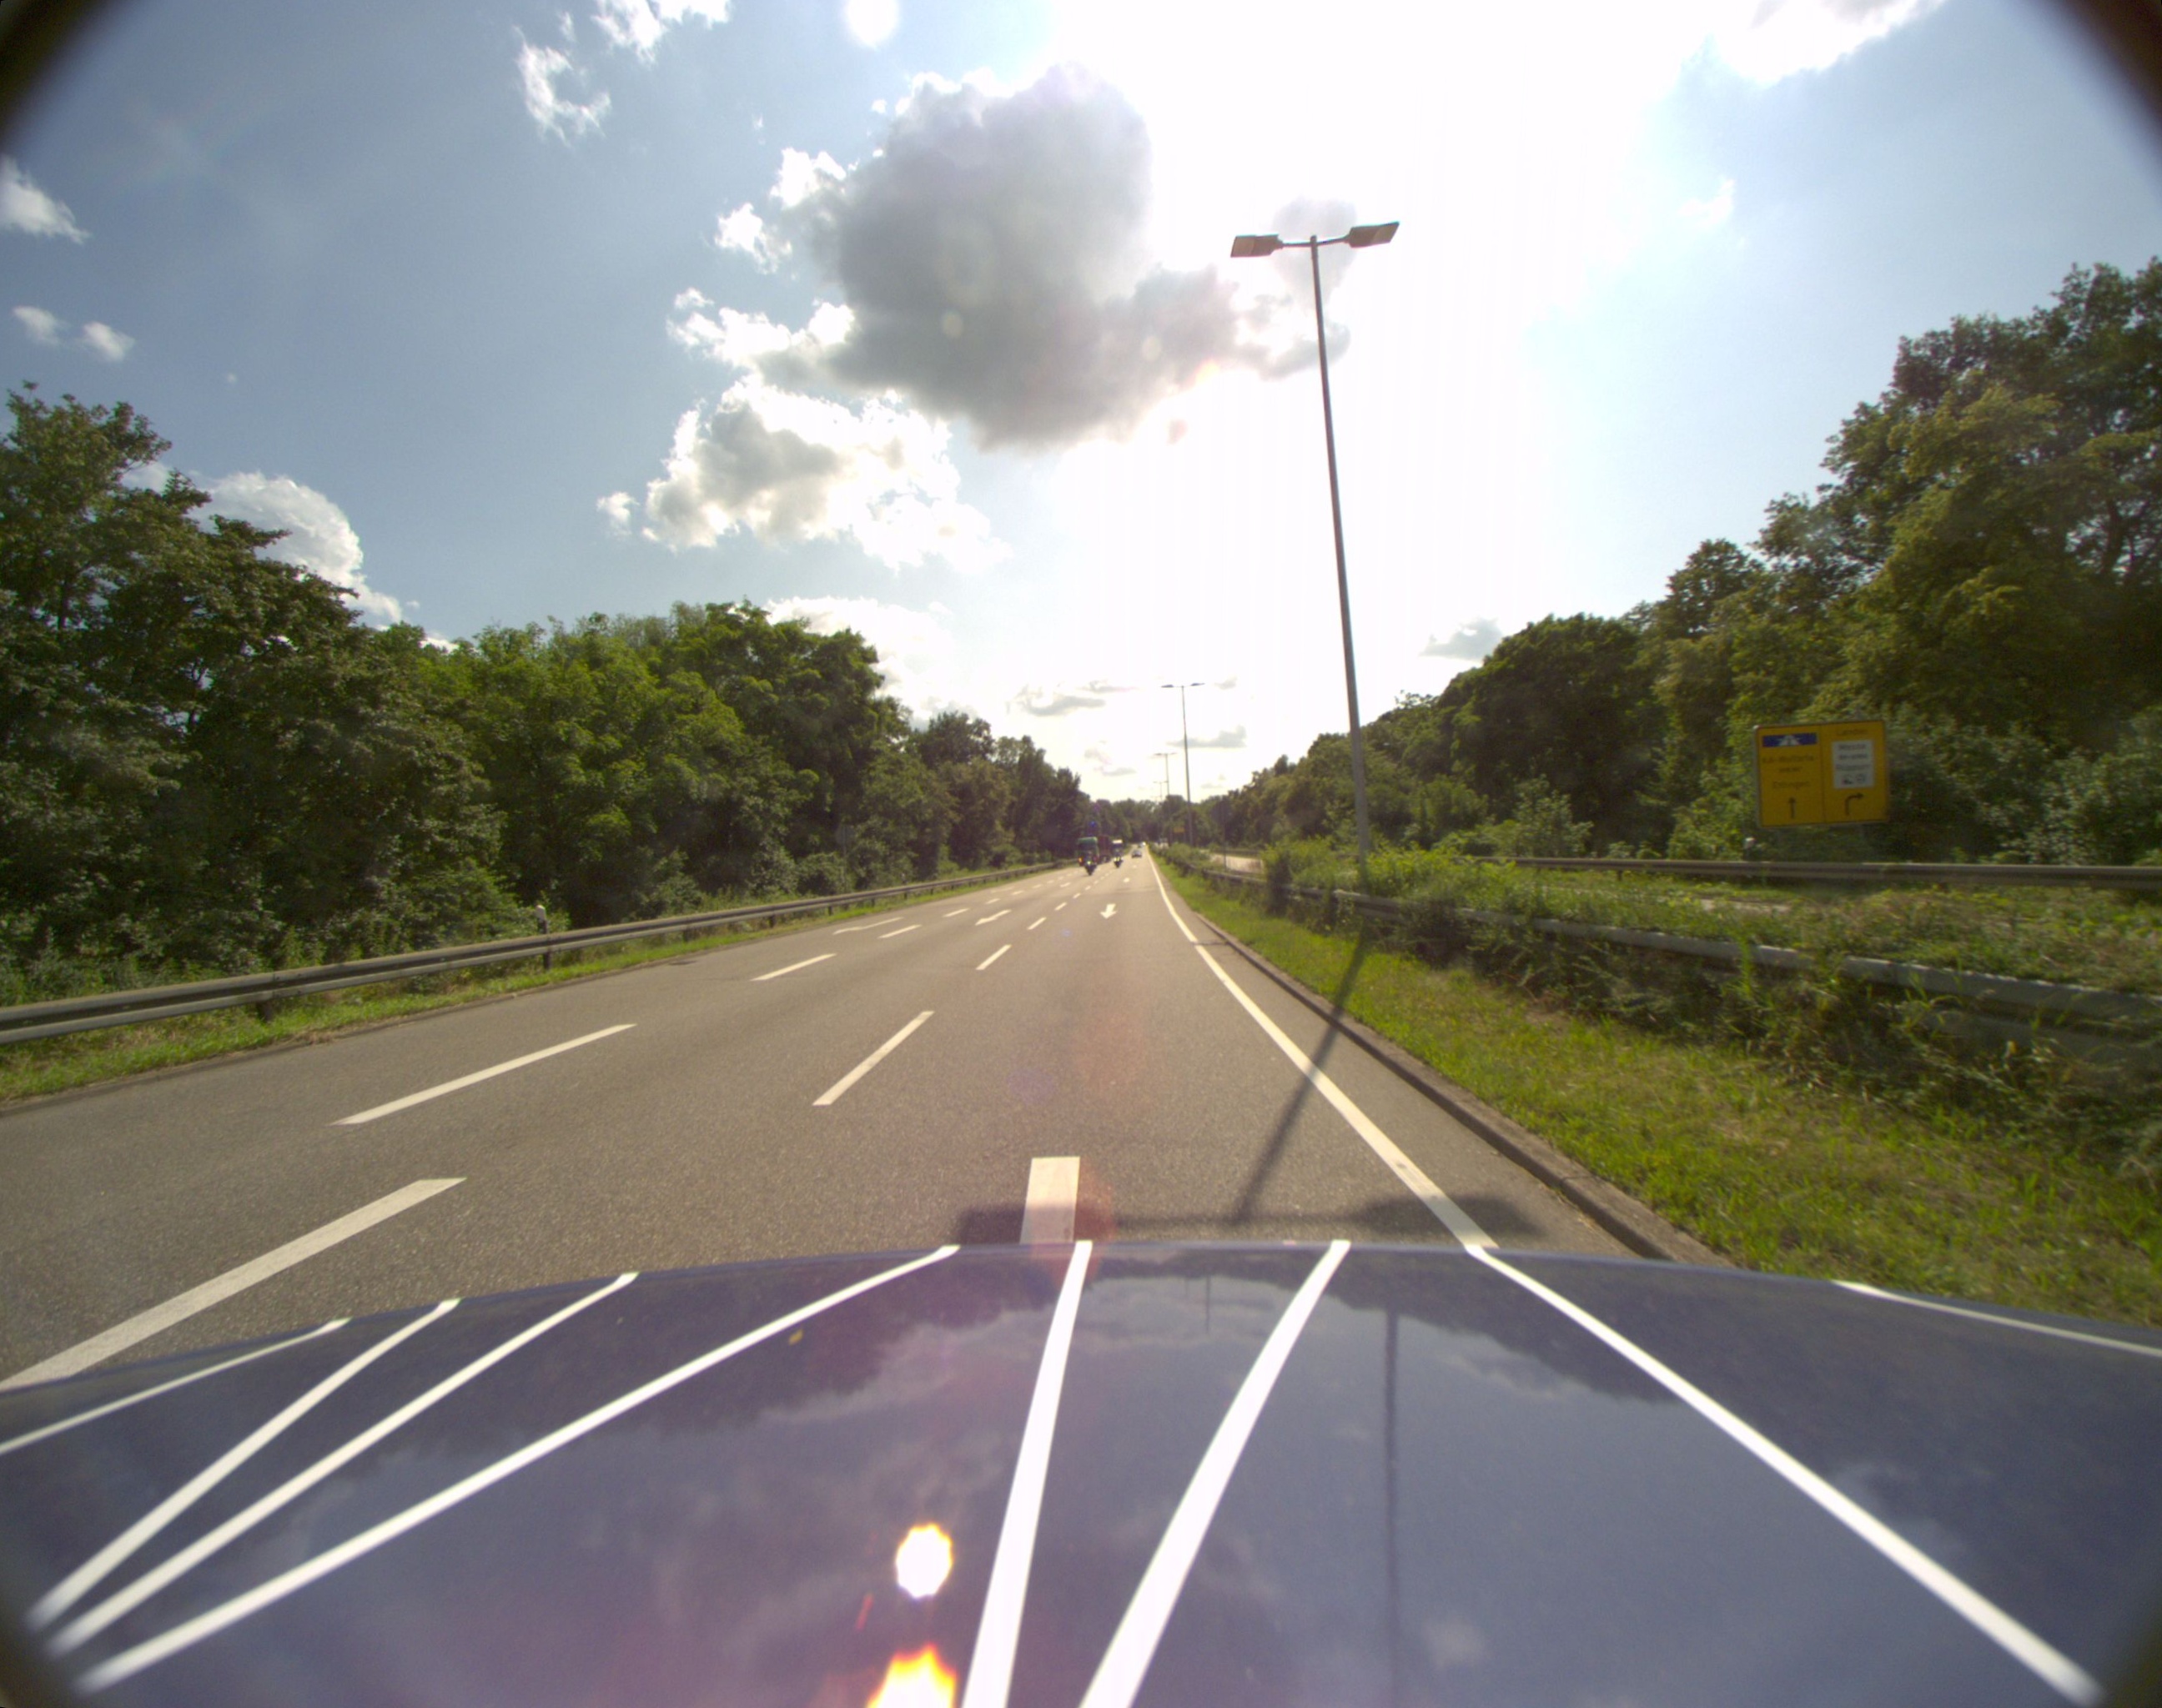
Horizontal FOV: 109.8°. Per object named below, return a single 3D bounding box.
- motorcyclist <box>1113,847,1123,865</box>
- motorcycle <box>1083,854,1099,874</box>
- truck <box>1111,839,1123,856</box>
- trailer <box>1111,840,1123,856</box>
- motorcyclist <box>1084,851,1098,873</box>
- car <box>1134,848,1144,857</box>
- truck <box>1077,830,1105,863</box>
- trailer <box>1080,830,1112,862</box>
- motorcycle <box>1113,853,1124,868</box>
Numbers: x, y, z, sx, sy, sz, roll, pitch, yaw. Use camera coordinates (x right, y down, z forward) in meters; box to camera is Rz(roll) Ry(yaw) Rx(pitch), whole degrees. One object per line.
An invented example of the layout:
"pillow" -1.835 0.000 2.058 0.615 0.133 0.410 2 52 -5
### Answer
"motorcyclist" 3.576 0.216 72.756 0.867 1.690 0.895 -3 0 4
"motorcycle" 0.744 0.708 55.125 0.939 1.375 2.371 -3 0 4
"truck" 8.977 -1.534 190.236 2.691 3.948 7.384 -4 0 2
"trailer" 9.242 -1.473 197.068 2.695 3.948 12.393 -4 0 2
"motorcyclist" 0.732 0.567 55.075 0.939 1.581 1.083 -3 0 3
"car" 10.334 -0.324 135.204 1.735 1.468 4.048 -3 0 6
"truck" 1.341 -0.955 96.296 2.590 3.871 6.065 -4 0 8
"trailer" 2.187 -0.998 102.974 2.590 3.871 14.509 -4 0 7
"motorcycle" 3.591 0.588 72.707 0.867 1.381 2.371 -3 0 4
